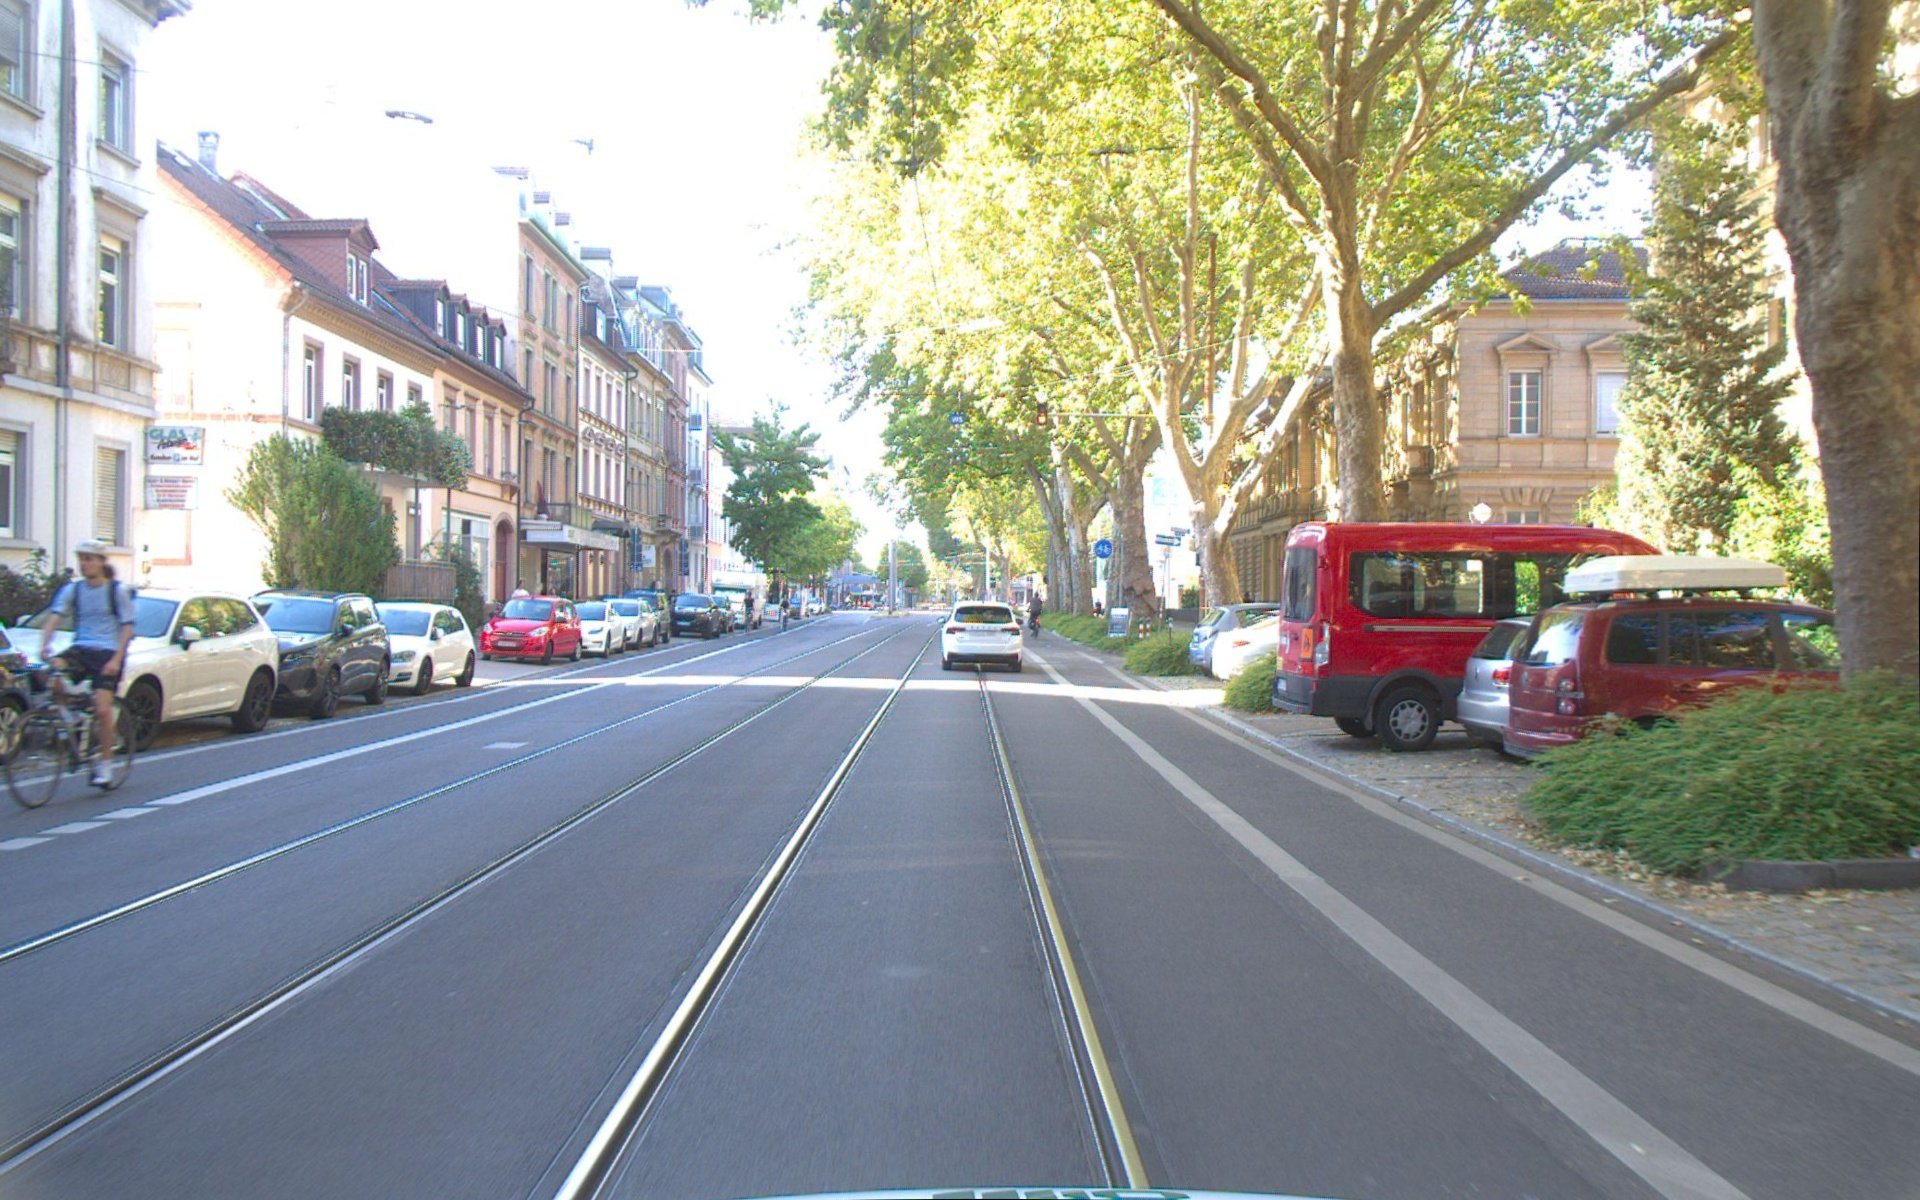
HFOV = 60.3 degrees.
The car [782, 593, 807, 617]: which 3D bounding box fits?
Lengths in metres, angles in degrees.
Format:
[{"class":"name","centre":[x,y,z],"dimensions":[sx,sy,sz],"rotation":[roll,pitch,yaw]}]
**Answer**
[{"class":"car","centre":[-12.456,0.369,124.666],"dimensions":[1.608,1.756,3.782],"rotation":[1,0,-2]}]

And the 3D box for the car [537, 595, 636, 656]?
[{"class":"car","centre":[-10.040,0.642,44.784],"dimensions":[1.791,1.529,4.685],"rotation":[2,0,-3]}]

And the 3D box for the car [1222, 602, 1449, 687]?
[{"class":"car","centre":[6.800,0.780,30.154],"dimensions":[3.679,1.411,1.679],"rotation":[-1,0,-7]}]

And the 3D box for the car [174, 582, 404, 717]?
[{"class":"car","centre":[-9.442,0.632,23.695],"dimensions":[1.821,1.733,4.653],"rotation":[0,0,-6]}]

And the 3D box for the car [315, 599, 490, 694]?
[{"class":"car","centre":[-9.677,0.756,29.027],"dimensions":[1.652,1.502,4.257],"rotation":[2,0,-1]}]

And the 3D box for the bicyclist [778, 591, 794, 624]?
[{"class":"bicyclist","centre":[-8.037,0.346,76.410],"dimensions":[0.625,1.529,1.069],"rotation":[-1,0,0]}]

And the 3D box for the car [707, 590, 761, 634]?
[{"class":"car","centre":[-9.872,0.506,72.521],"dimensions":[1.925,1.813,4.468],"rotation":[1,0,-2]}]

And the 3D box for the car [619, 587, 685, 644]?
[{"class":"car","centre":[-10.101,0.489,54.433],"dimensions":[1.524,1.762,3.684],"rotation":[2,0,-2]}]

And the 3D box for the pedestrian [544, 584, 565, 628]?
[{"class":"pedestrian","centre":[-14.009,0.195,57.124],"dimensions":[0.625,1.486,0.654],"rotation":[2,-1,-17]}]

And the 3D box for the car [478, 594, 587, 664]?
[{"class":"car","centre":[-10.105,0.651,39.332],"dimensions":[1.536,1.590,3.450],"rotation":[0,0,3]}]

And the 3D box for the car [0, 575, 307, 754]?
[{"class":"car","centre":[-9.124,0.622,18.419],"dimensions":[1.819,1.733,4.762],"rotation":[0,0,0]}]

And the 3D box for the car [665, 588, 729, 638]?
[{"class":"car","centre":[-10.517,0.510,66.392],"dimensions":[1.925,1.812,4.935],"rotation":[3,0,-3]}]

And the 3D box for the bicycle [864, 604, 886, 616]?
[{"class":"bicycle","centre":[-9.831,1.145,191.799],"dimensions":[2.658,1.351,0.607],"rotation":[0,0,-36]}]

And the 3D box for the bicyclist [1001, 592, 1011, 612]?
[{"class":"bicyclist","centre":[3.864,0.180,137.906],"dimensions":[0.721,1.617,0.587],"rotation":[0,0,11]}]

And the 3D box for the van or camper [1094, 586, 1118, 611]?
[{"class":"van or camper","centre":[14.523,-0.112,165.015],"dimensions":[1.953,2.384,4.000],"rotation":[2,0,0]}]

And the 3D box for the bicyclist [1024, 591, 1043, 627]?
[{"class":"bicyclist","centre":[2.816,0.344,63.442],"dimensions":[0.665,1.362,0.525],"rotation":[2,0,-1]}]

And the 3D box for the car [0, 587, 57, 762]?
[{"class":"car","centre":[-9.239,0.657,13.497],"dimensions":[1.522,1.542,3.924],"rotation":[0,0,1]}]

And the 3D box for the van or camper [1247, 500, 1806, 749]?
[{"class":"van or camper","centre":[6.432,0.239,19.253],"dimensions":[5.699,2.563,2.286],"rotation":[-2,1,-3]}]

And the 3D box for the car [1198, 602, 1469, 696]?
[{"class":"car","centre":[6.265,0.807,28.065],"dimensions":[4.198,1.442,1.760],"rotation":[-1,0,0]}]

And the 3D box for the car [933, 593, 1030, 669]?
[{"class":"car","centre":[0.409,0.634,35.678],"dimensions":[1.806,1.506,3.836],"rotation":[1,0,-3]}]

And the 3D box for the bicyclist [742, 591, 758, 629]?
[{"class":"bicyclist","centre":[-9.195,0.430,72.317],"dimensions":[0.524,1.663,0.896],"rotation":[-2,0,1]}]

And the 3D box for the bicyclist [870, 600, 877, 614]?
[{"class":"bicyclist","centre":[-10.050,0.789,191.652],"dimensions":[0.626,1.549,0.602],"rotation":[0,1,-35]}]

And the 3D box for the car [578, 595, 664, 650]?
[{"class":"car","centre":[-10.201,0.644,50.039],"dimensions":[1.790,1.529,4.448],"rotation":[2,0,-2]}]

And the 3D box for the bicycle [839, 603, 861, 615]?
[{"class":"bicycle","centre":[-12.661,1.029,189.951],"dimensions":[2.658,1.351,0.607],"rotation":[0,0,-36]}]

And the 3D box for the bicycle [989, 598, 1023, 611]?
[{"class":"bicycle","centre":[3.815,0.385,137.911],"dimensions":[2.711,1.017,0.593],"rotation":[2,0,14]}]

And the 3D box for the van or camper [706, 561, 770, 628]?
[{"class":"van or camper","centre":[-11.251,-0.275,84.295],"dimensions":[2.171,3.195,7.114],"rotation":[1,0,1]}]

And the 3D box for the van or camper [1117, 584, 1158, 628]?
[{"class":"van or camper","centre":[10.596,0.368,99.078],"dimensions":[1.985,2.507,5.108],"rotation":[2,0,1]}]

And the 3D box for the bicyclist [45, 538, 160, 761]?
[{"class":"bicyclist","centre":[-6.584,0.368,12.722],"dimensions":[0.463,1.664,0.800],"rotation":[0,0,0]}]

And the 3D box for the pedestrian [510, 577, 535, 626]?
[{"class":"pedestrian","centre":[-14.999,0.060,56.746],"dimensions":[0.759,1.662,0.654],"rotation":[2,-1,-17]}]

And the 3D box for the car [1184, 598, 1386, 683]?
[{"class":"car","centre":[6.466,0.784,33.162],"dimensions":[3.675,1.534,1.681],"rotation":[2,0,-1]}]

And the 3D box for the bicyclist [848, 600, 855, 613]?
[{"class":"bicyclist","centre":[-12.485,0.738,190.116],"dimensions":[0.626,1.549,0.602],"rotation":[0,1,-35]}]

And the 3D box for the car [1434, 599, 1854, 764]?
[{"class":"car","centre":[6.996,0.795,17.124],"dimensions":[3.660,1.556,1.668],"rotation":[-1,0,-4]}]

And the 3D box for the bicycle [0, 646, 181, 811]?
[{"class":"bicycle","centre":[-6.582,0.927,12.547],"dimensions":[0.471,1.105,1.846],"rotation":[0,0,0]}]

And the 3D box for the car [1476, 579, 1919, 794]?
[{"class":"car","centre":[6.707,0.716,14.508],"dimensions":[3.743,1.678,1.766],"rotation":[-1,-1,-4]}]

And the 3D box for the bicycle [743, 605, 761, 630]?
[{"class":"bicycle","centre":[-9.105,0.749,72.337],"dimensions":[0.474,1.066,2.039],"rotation":[-1,0,1]}]

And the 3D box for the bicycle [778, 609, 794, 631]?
[{"class":"bicycle","centre":[-8.025,0.905,76.419],"dimensions":[0.488,0.959,1.921],"rotation":[-1,0,1]}]

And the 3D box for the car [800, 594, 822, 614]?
[{"class":"car","centre":[-13.310,0.357,147.968],"dimensions":[1.758,1.756,3.782],"rotation":[1,0,-2]}]

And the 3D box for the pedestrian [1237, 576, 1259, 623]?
[{"class":"pedestrian","centre":[10.349,-0.024,59.462],"dimensions":[0.634,1.661,0.872],"rotation":[1,-1,18]}]

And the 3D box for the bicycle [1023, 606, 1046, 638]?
[{"class":"bicycle","centre":[2.819,0.822,63.150],"dimensions":[0.666,1.175,2.963],"rotation":[2,0,-1]}]
